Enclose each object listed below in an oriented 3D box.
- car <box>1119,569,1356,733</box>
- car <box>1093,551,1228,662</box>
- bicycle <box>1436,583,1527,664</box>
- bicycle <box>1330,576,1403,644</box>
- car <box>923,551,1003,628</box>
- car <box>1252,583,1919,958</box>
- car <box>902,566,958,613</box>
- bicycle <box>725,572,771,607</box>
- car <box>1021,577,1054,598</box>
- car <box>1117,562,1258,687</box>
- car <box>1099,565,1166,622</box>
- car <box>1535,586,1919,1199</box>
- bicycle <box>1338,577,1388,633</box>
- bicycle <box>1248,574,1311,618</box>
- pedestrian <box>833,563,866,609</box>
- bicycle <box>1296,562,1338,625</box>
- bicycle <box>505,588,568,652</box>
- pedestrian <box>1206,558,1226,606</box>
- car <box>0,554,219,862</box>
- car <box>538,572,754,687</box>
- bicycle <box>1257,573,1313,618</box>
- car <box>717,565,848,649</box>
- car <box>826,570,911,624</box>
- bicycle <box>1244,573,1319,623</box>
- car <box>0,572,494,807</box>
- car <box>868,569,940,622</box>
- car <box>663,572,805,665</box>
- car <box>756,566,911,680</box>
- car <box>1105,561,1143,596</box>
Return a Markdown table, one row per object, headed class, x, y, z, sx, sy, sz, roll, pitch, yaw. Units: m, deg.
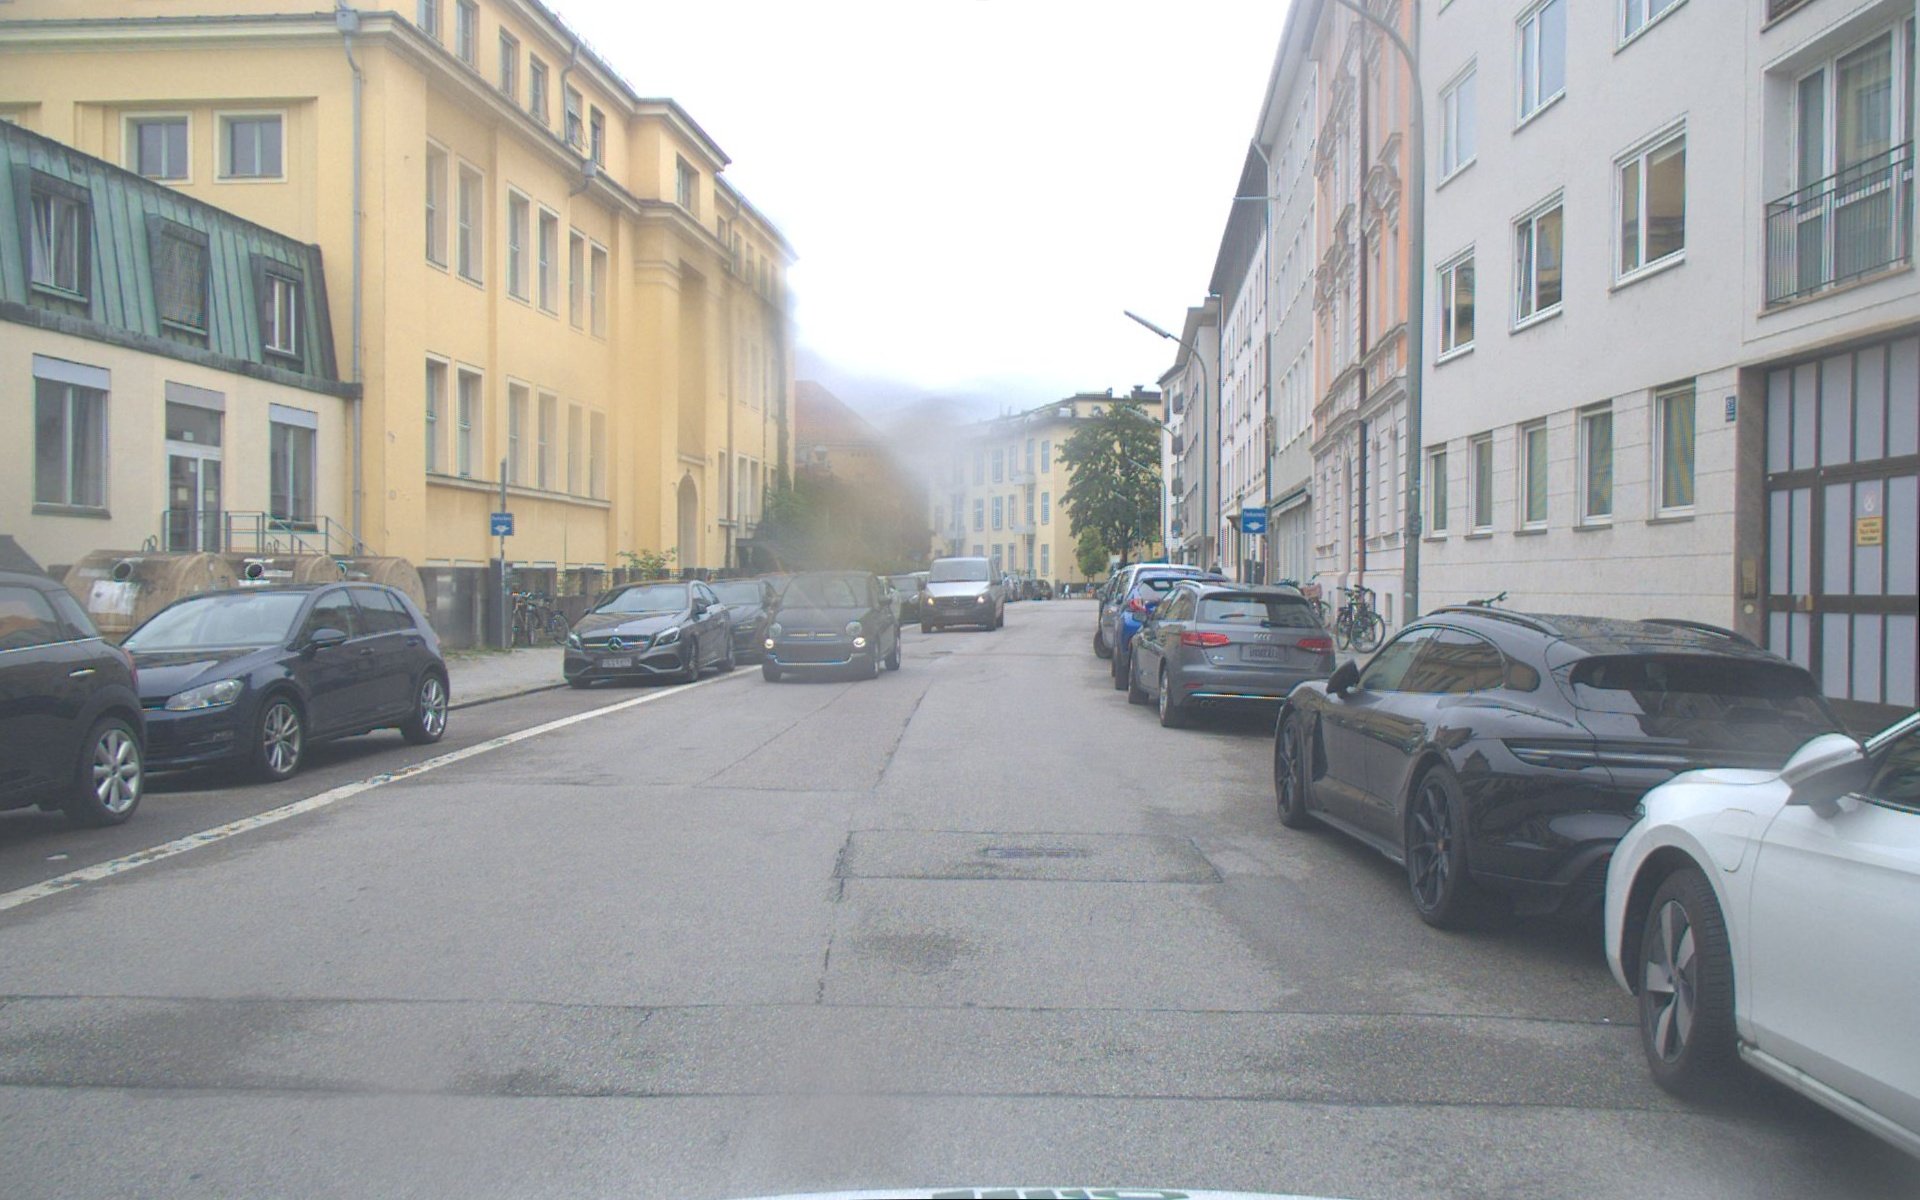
| class | x | y | z | sx | sy | sz | roll | pitch | yaw |
| --- | --- | --- | --- | --- | --- | --- | --- | --- | --- |
| car | 2.842 | 0.445 | 17.870 | 1.671 | 1.479 | 4.401 | 3 | 1 | -1 |
| car | 3.315 | 0.076 | 27.950 | 1.647 | 1.702 | 3.803 | 1 | 1 | -2 |
| bicycle | 7.391 | 0.305 | 23.528 | 0.518 | 1.090 | 1.999 | 0 | 1 | -4 |
| bicycle | 7.101 | 0.155 | 28.989 | 0.708 | 1.131 | 1.994 | 0 | 1 | -2 |
| car | 0.140 | -0.297 | 43.286 | 1.875 | 1.880 | 5.323 | 0 | 1 | 2 |
| car | 3.036 | 0.633 | 8.943 | 1.915 | 1.439 | 5.112 | 0 | 1 | -1 |
| car | -1.093 | -0.414 | 62.502 | 1.709 | 1.662 | 4.858 | -2 | 1 | 3 |
| bicycle | -7.876 | -0.385 | 61.456 | 1.591 | 1.290 | 0.527 | -1 | 1 | 7 |
| car | 7.412 | -1.195 | 158.975 | 1.734 | 1.907 | 4.360 | 4 | 0 | -16 |
| car | 3.016 | 0.262 | 22.663 | 1.705 | 1.520 | 4.551 | 0 | 1 | 5 |
| car | 4.593 | -0.186 | 43.710 | 1.652 | 1.426 | 4.367 | 1 | 1 | 7 |
| car | 3.089 | 0.723 | 3.542 | 1.816 | 1.438 | 5.013 | 0 | 1 | -2 |
| bicycle | 7.851 | 0.079 | 32.242 | 0.583 | 1.042 | 1.818 | -1 | 1 | 2 |
| bicycle | 8.262 | -0.106 | 42.678 | 1.828 | 1.086 | 0.509 | -2 | 1 | -37 |
| pedestrian | -4.229 | -0.544 | 63.398 | 0.883 | 1.749 | 1.059 | -1 | 1 | 22 |
| bicycle | 8.171 | -0.163 | 37.925 | 0.583 | 1.409 | 2.093 | -1 | 1 | 2 |
| bicycle | -8.385 | 0.375 | 32.816 | 0.524 | 1.206 | 2.108 | 0 | 1 | 5 |
| pedestrian | 9.898 | -0.693 | 63.945 | 0.707 | 1.794 | 0.905 | 0 | -2 | 6 |
| car | -6.010 | 0.624 | 8.858 | 1.874 | 1.614 | 4.354 | -4 | 1 | 3 |
| car | -4.479 | 0.382 | 24.353 | 1.972 | 1.443 | 4.618 | -3 | 0 | 3 |
| bicycle | 8.268 | -0.115 | 42.077 | 0.610 | 1.108 | 1.805 | 0 | 1 | 40 |
| car | -3.560 | 0.117 | 34.012 | 1.917 | 1.507 | 4.531 | -3 | 0 | 3 |
| car | -2.564 | -0.099 | 47.256 | 1.747 | 1.456 | 4.655 | 0 | 1 | 5 |
| bicycle | 7.758 | -0.060 | 39.831 | 2.071 | 1.159 | 0.576 | -2 | 1 | -39 |
| car | -5.645 | 0.589 | 13.611 | 1.873 | 1.507 | 4.535 | -3 | 1 | 6 |
| car | -1.721 | -0.154 | 52.435 | 1.663 | 1.523 | 4.152 | -4 | 0 | 5 |
| car | -3.920 | 0.280 | 29.365 | 1.713 | 1.429 | 4.356 | -3 | 1 | 2 |
| car | -1.749 | 0.289 | 23.920 | 1.626 | 1.500 | 3.710 | -1 | 1 | 5 |
| car | 12.036 | -1.548 | 121.804 | 2.037 | 2.272 | 5.243 | 4 | -2 | -1 |
